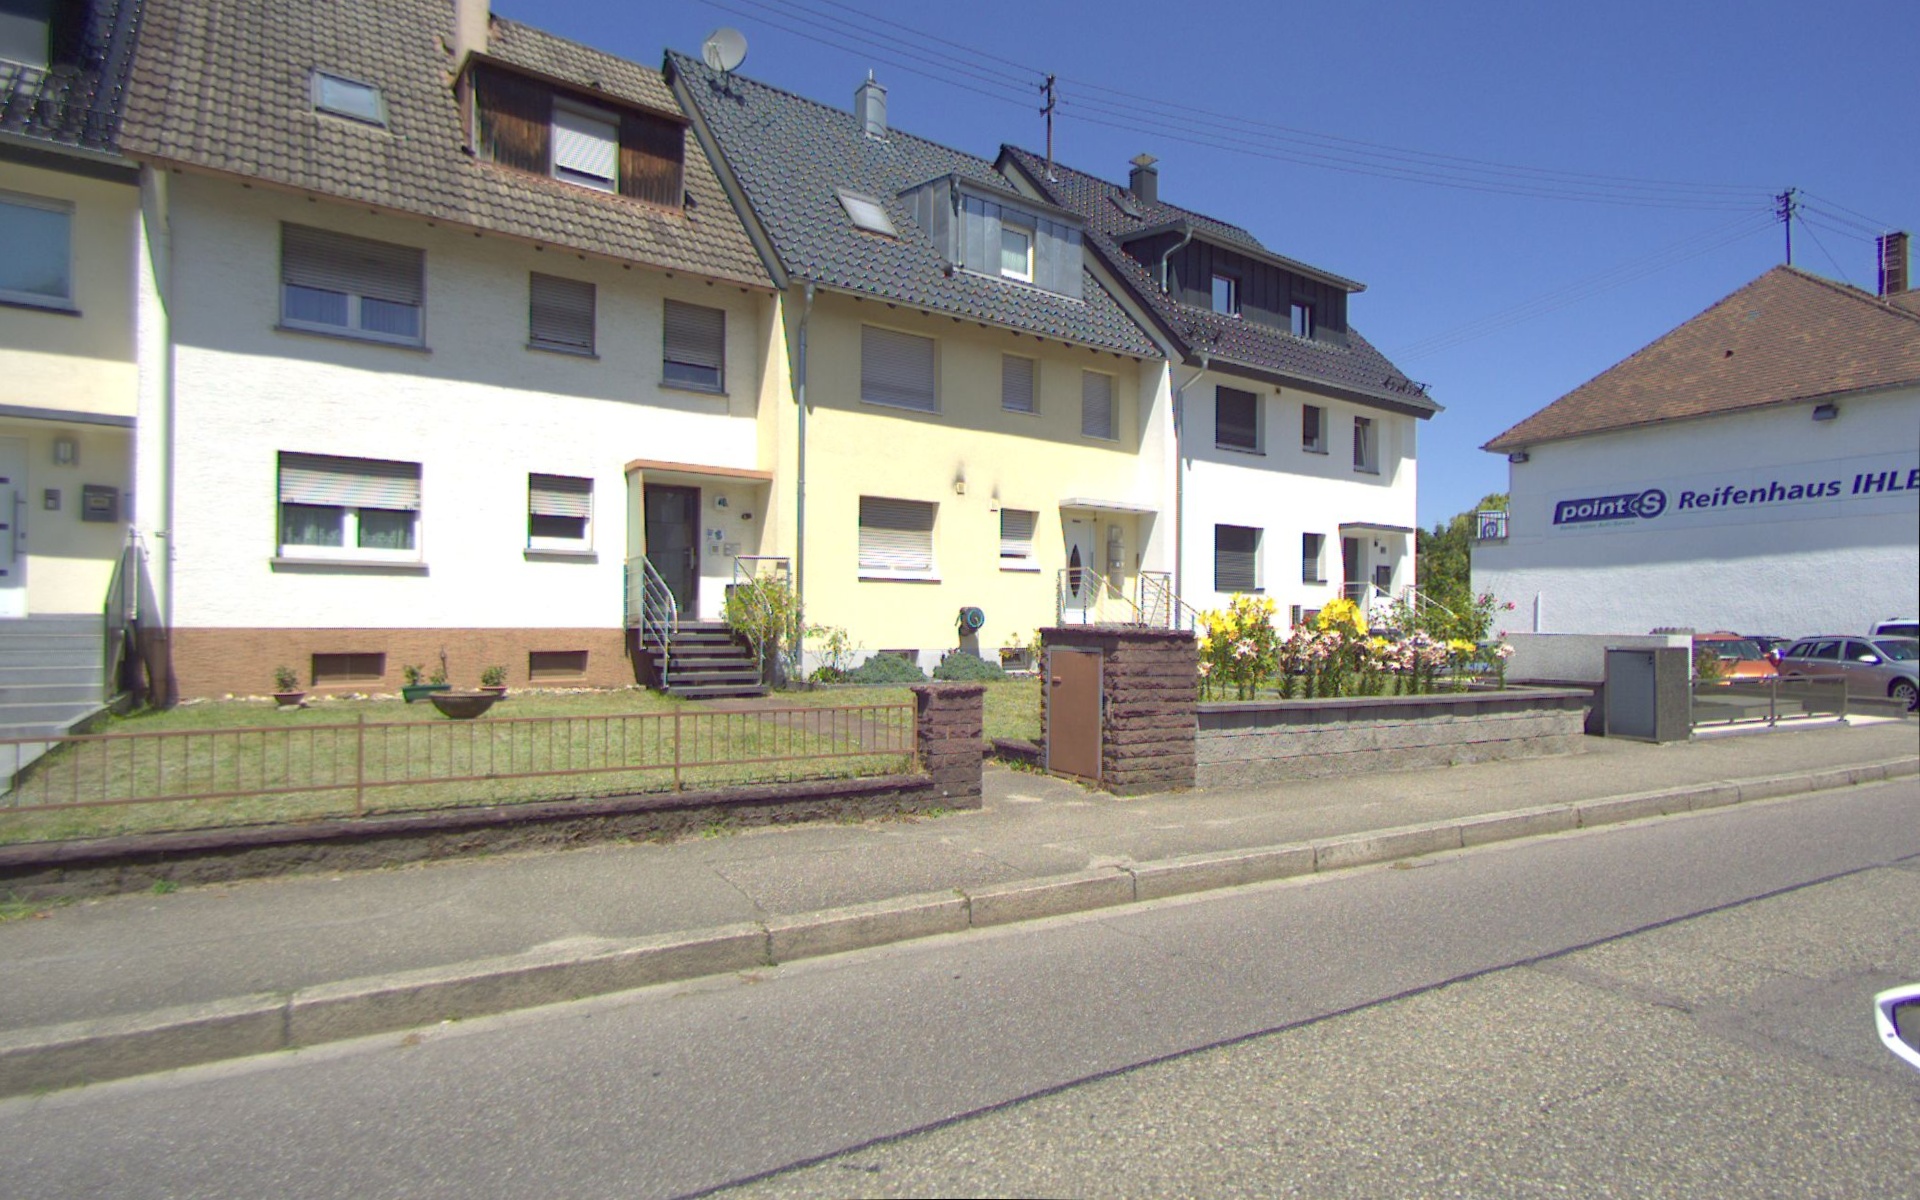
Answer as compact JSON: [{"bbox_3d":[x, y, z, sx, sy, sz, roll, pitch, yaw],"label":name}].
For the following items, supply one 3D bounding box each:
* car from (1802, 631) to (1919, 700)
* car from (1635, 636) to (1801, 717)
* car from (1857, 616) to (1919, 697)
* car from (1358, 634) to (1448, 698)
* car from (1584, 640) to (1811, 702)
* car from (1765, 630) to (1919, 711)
[{"bbox_3d":[21.785,1.433,22.187,1.950,1.515,4.458,1,-3,-26],"label":"car"},{"bbox_3d":[17.265,1.696,23.134,1.816,1.666,4.208,-1,-3,19],"label":"car"},{"bbox_3d":[23.930,1.301,23.309,1.831,1.901,4.325,1,-3,-34],"label":"car"},{"bbox_3d":[13.410,1.954,30.268,1.794,1.779,4.174,-4,-4,33],"label":"car"},{"bbox_3d":[19.548,1.936,26.877,1.950,1.514,4.459,1,-5,-26],"label":"car"},{"bbox_3d":[19.130,1.404,20.693,1.839,1.515,4.278,-1,-3,4],"label":"car"}]
